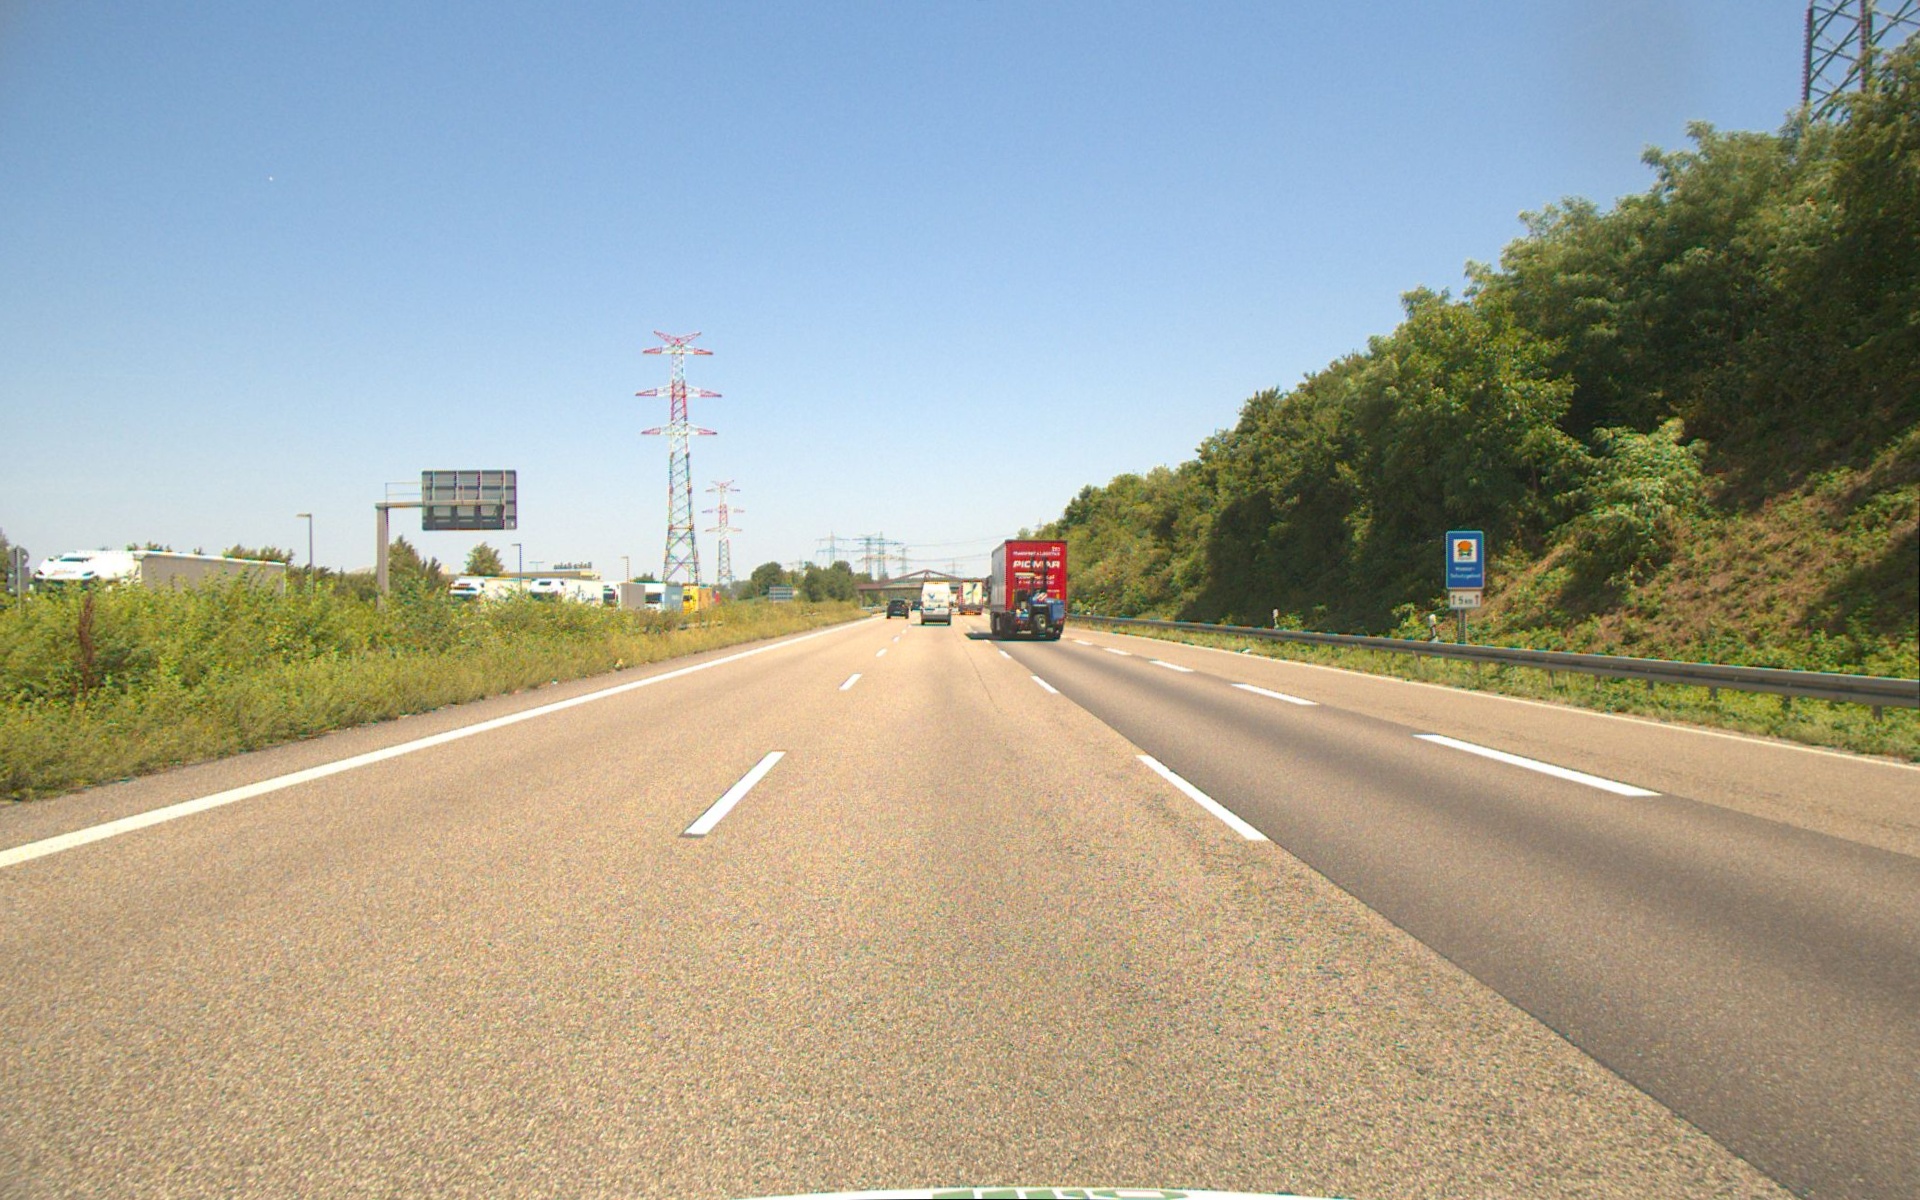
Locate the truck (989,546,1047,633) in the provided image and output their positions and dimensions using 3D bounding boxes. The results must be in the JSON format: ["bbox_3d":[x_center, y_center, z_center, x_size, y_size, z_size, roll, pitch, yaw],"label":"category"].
[{"bbox_3d":[2.742,-0.464,80.032,2.448,3.988,7.095,0,0,-1],"label":"truck"}]

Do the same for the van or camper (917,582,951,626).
[{"bbox_3d":[-1.704,0.281,110.300,2.185,2.831,5.422,1,0,-1],"label":"van or camper"}]

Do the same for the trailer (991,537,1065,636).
[{"bbox_3d":[2.846,-0.504,73.349,2.440,3.978,14.242,0,0,-1],"label":"trailer"}]

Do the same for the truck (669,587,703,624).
[{"bbox_3d":[-32.673,0.705,197.463,2.776,4.274,7.916,1,0,-1],"label":"truck"}]

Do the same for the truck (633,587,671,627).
[{"bbox_3d":[-32.725,0.741,175.715,2.792,4.144,7.087,1,0,-2],"label":"truck"}]

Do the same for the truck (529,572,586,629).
[{"bbox_3d":[-31.417,0.081,129.339,2.529,4.262,7.934,1,0,-1],"label":"truck"}]

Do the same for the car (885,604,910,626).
[{"bbox_3d":[-5.596,1.339,147.918,1.941,1.849,3.813,1,0,1],"label":"car"}]

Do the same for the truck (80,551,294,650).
[{"bbox_3d":[-32.125,0.042,69.695,2.742,3.707,13.603,1,0,-1],"label":"truck"}]

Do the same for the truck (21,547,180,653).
[{"bbox_3d":[-32.008,0.020,61.881,2.742,3.707,6.145,1,0,-1],"label":"truck"}]

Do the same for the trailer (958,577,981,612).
[{"bbox_3d":[1.135,-0.591,202.734,2.583,4.131,12.365,1,0,0],"label":"trailer"}]

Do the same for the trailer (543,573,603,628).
[{"bbox_3d":[-31.513,0.079,135.207,2.546,4.292,10.512,1,0,-1],"label":"trailer"}]

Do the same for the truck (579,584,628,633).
[{"bbox_3d":[-32.496,0.772,151.080,3.054,4.231,7.501,1,0,-2],"label":"truck"}]

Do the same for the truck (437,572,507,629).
[{"bbox_3d":[-37.930,0.059,128.782,3.032,4.225,8.314,1,0,-1],"label":"truck"}]
